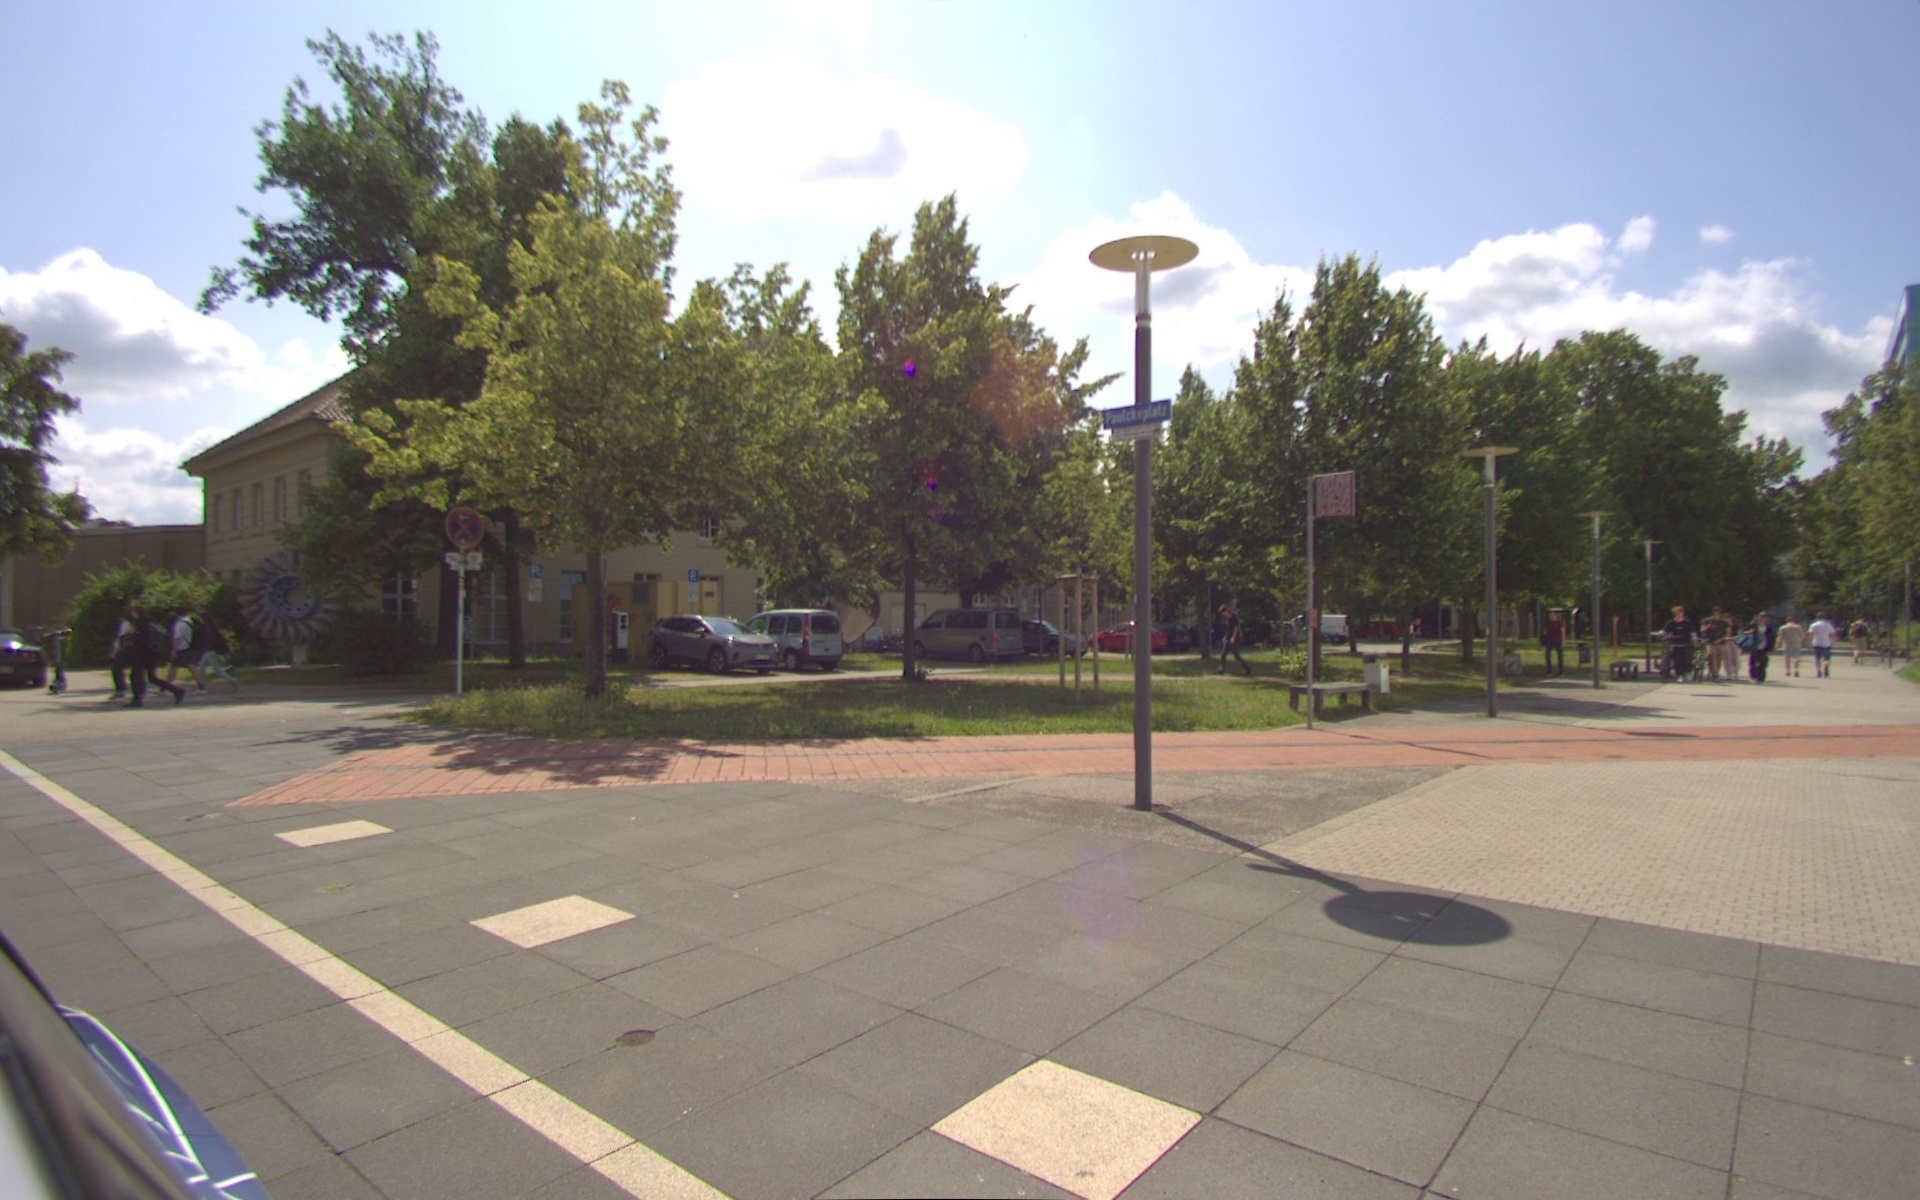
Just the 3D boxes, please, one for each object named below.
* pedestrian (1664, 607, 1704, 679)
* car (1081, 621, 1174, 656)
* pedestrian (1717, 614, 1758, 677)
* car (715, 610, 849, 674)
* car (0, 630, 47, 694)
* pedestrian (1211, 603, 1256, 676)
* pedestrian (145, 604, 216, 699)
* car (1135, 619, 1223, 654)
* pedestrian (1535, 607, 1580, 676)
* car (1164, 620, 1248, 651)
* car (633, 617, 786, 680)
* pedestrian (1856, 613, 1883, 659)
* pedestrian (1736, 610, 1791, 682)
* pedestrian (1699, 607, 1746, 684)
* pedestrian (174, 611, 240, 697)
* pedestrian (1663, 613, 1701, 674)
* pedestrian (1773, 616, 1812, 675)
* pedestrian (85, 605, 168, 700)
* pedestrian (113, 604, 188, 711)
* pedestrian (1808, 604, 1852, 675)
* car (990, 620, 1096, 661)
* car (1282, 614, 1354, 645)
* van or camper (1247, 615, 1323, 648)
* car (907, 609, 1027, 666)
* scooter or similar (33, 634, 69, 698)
[{"bbox_3d":[17.631,1.022,24.649,0.749,1.710,0.876,-1,-1,36],"label":"pedestrian"},{"bbox_3d":[8.041,1.839,48.869,4.125,1.553,1.787,0,-1,43],"label":"car"},{"bbox_3d":[20.050,1.165,26.099,0.842,1.593,0.697,1,-2,-45],"label":"pedestrian"},{"bbox_3d":[-5.493,1.234,31.038,4.121,1.799,1.788,0,-1,40],"label":"car"},{"bbox_3d":[-21.429,1.330,22.169,3.760,1.305,1.679,-1,-2,41],"label":"car"},{"bbox_3d":[6.869,0.977,25.397,0.858,1.800,0.638,0,-2,-14],"label":"pedestrian"},{"bbox_3d":[-15.212,0.986,19.773,0.885,1.800,0.728,0,-1,-15],"label":"pedestrian"},{"bbox_3d":[11.296,1.860,52.392,4.121,1.679,1.788,0,-1,40],"label":"car"},{"bbox_3d":[16.866,1.148,28.570,0.656,1.906,0.858,0,-1,-33],"label":"pedestrian"},{"bbox_3d":[13.419,1.890,55.316,4.121,1.553,1.788,0,-1,40],"label":"car"},{"bbox_3d":[-7.264,1.319,29.098,4.646,1.593,1.875,0,-1,40],"label":"car"},{"bbox_3d":[34.259,1.348,38.130,0.725,1.706,0.550,-1,-2,44],"label":"pedestrian"},{"bbox_3d":[18.838,1.060,23.740,0.719,1.666,0.802,0,-1,-33],"label":"pedestrian"},{"bbox_3d":[18.726,1.093,24.853,0.749,1.852,0.687,0,-1,-33],"label":"pedestrian"},{"bbox_3d":[-15.388,1.088,20.707,0.956,1.729,0.559,0,-1,-20],"label":"pedestrian"},{"bbox_3d":[19.236,1.135,26.975,0.747,1.593,0.844,-1,-1,40],"label":"pedestrian"},{"bbox_3d":[22.998,1.241,27.961,0.758,1.574,0.720,-1,-2,43],"label":"pedestrian"},{"bbox_3d":[-15.441,0.973,18.763,0.992,1.729,0.621,0,-2,2],"label":"pedestrian"},{"bbox_3d":[-13.994,0.985,17.519,0.858,1.800,0.571,0,-2,-21],"label":"pedestrian"},{"bbox_3d":[23.575,1.052,27.422,0.825,1.898,0.753,-1,-2,43],"label":"pedestrian"},{"bbox_3d":[3.420,1.631,41.940,4.121,1.553,1.788,0,-1,40],"label":"car"},{"bbox_3d":[23.727,1.934,67.153,4.121,1.958,1.788,0,-1,40],"label":"car"},{"bbox_3d":[19.857,1.916,61.913,4.080,1.900,1.788,0,-1,40],"label":"van or camper"},{"bbox_3d":[0.202,1.354,38.008,4.528,1.974,1.787,0,-1,44],"label":"car"},{"bbox_3d":[-18.138,1.299,20.189,0.464,1.225,1.205,1,-2,-44],"label":"scooter or similar"}]
